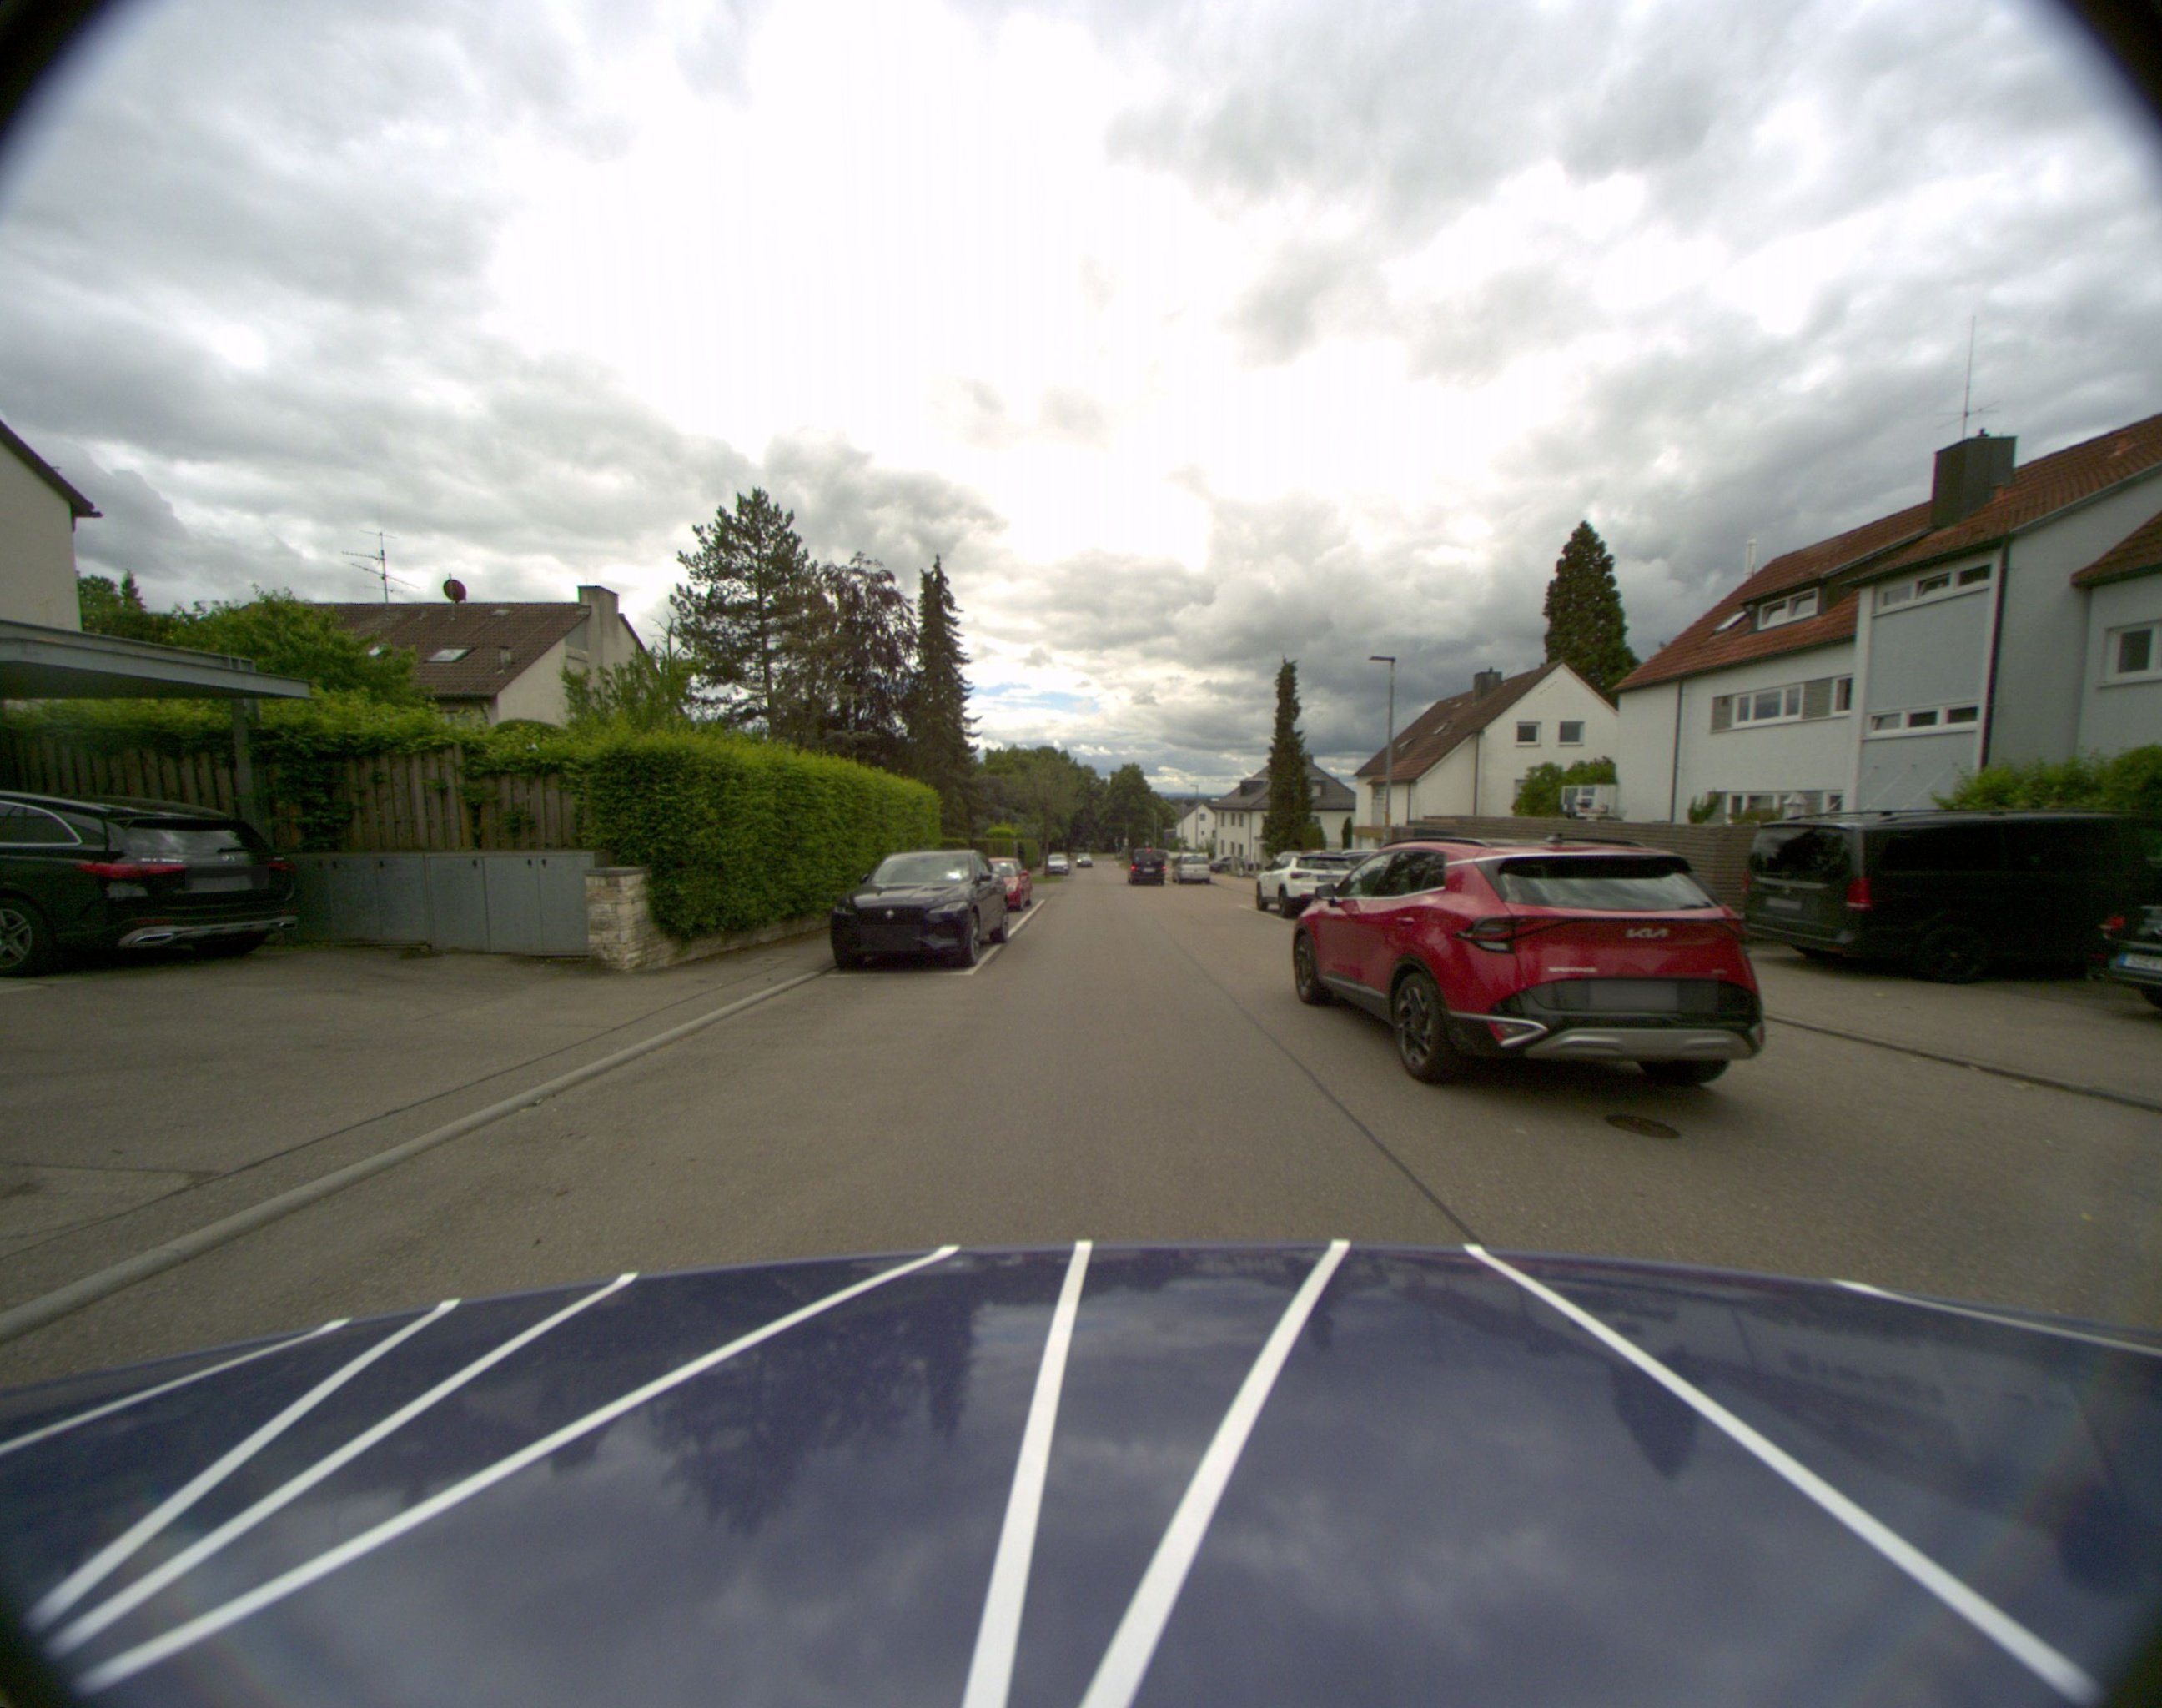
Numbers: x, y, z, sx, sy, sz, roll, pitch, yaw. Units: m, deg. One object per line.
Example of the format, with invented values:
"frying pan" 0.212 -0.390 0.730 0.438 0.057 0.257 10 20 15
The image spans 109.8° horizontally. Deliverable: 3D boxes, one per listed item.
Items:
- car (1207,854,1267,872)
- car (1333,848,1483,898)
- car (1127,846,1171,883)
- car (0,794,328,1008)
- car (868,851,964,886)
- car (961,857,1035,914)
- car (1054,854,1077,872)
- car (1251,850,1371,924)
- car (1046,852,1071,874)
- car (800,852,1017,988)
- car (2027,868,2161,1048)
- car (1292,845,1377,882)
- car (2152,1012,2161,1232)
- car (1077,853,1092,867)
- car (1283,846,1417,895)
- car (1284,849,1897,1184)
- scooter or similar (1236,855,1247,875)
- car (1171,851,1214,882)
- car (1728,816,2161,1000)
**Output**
"car" 12.247 0.695 59.754 4.299 1.360 1.903 0 0 -5
"car" 10.996 0.619 25.811 4.306 1.602 1.854 0 1 4
"car" 3.507 0.508 39.805 1.890 1.840 4.401 1 0 0
"car" -10.627 0.300 7.494 4.375 1.640 1.885 6 0 -1
"car" -7.639 0.657 35.538 4.221 1.590 1.880 0 1 -8
"car" -2.336 0.849 22.159 1.665 1.499 3.758 0 0 1
"car" -1.314 0.725 64.657 1.860 1.455 4.171 -1 1 -1
"car" 5.762 0.753 19.639 1.842 1.657 4.408 1 0 2
"car" -1.728 0.672 59.097 1.860 1.573 4.171 -1 1 -1
"car" -2.379 0.832 11.840 1.998 1.608 4.514 -2 1 4
"car" 10.855 0.847 5.994 3.993 1.437 1.780 -1 1 13
"car" 11.936 0.421 35.855 3.437 1.569 1.656 -2 2 2
"car" 5.569 0.947 1.078 1.842 1.414 4.408 1 0 0
"car" 0.396 0.612 84.941 1.568 1.504 3.396 0 0 -1
"car" 10.226 0.610 29.127 4.422 1.619 1.910 -3 1 0
"car" 3.132 0.808 5.965 1.946 1.638 4.257 2 0 1
"scooter or similar" 9.875 0.672 46.706 0.475 1.142 1.456 -2 0 17
"car" 6.012 0.630 41.414 1.765 1.554 3.855 1 0 1
"car" 10.711 0.540 9.065 4.080 1.939 2.001 0 2 9
